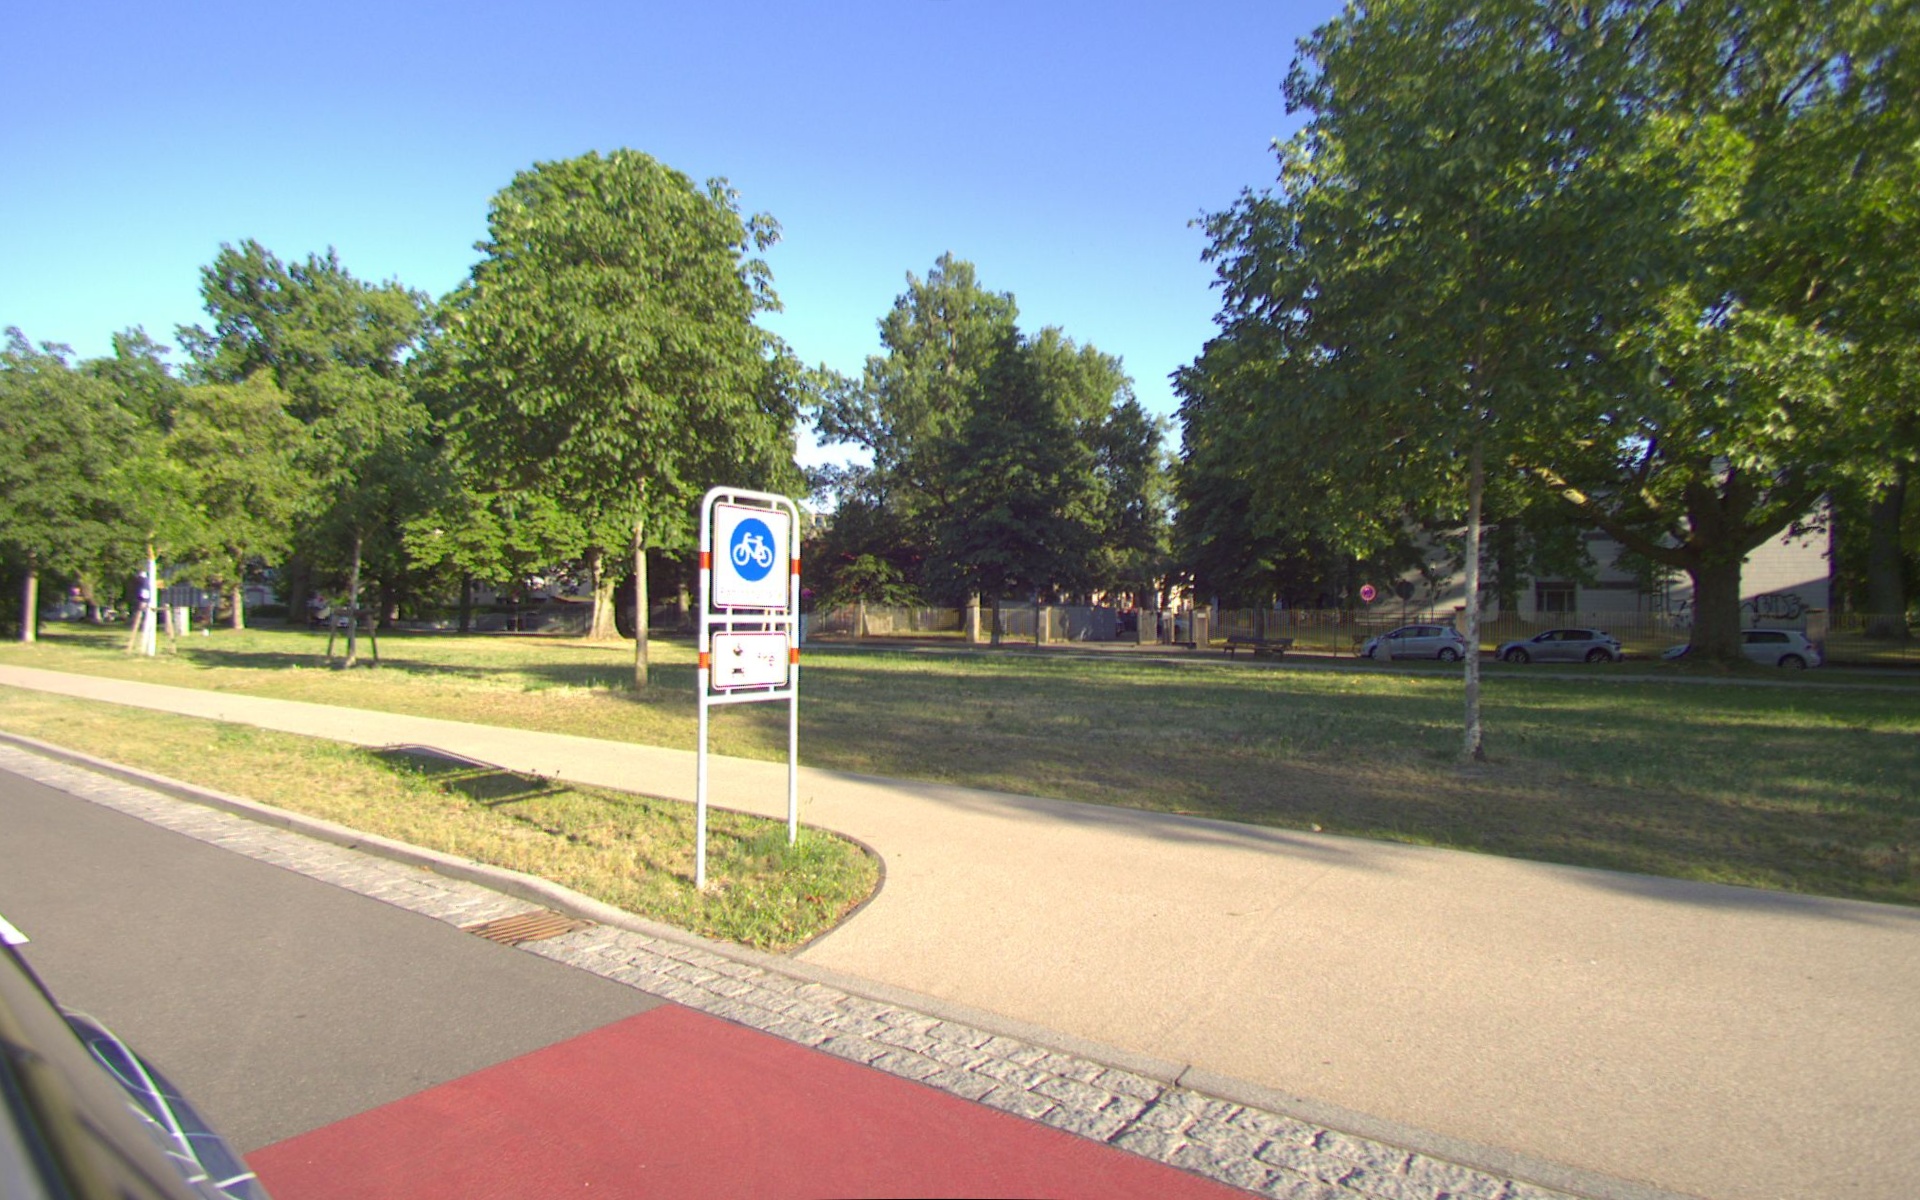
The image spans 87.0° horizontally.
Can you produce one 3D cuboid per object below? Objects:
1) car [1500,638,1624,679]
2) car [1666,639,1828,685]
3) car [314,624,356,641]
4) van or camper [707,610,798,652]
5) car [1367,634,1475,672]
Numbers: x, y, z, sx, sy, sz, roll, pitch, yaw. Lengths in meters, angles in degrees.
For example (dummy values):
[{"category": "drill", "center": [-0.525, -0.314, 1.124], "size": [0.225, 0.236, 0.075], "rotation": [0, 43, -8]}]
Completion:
[{"category": "car", "center": [21.683, 2.077, 36.493], "size": [3.783, 1.378, 1.509], "rotation": [-1, -2, 34]}, {"category": "car", "center": [25.831, 1.990, 33.407], "size": [4.097, 1.378, 1.509], "rotation": [-1, -2, 34]}, {"category": "car", "center": [-56.082, 2.899, 90.784], "size": [3.989, 1.475, 1.777], "rotation": [-1, -1, 34]}, {"category": "van or camper", "center": [-12.386, 1.840, 60.297], "size": [5.450, 2.458, 1.978], "rotation": [-1, -3, 33]}, {"category": "car", "center": [17.842, 2.030, 39.217], "size": [3.640, 1.378, 1.509], "rotation": [-1, -2, 34]}]
